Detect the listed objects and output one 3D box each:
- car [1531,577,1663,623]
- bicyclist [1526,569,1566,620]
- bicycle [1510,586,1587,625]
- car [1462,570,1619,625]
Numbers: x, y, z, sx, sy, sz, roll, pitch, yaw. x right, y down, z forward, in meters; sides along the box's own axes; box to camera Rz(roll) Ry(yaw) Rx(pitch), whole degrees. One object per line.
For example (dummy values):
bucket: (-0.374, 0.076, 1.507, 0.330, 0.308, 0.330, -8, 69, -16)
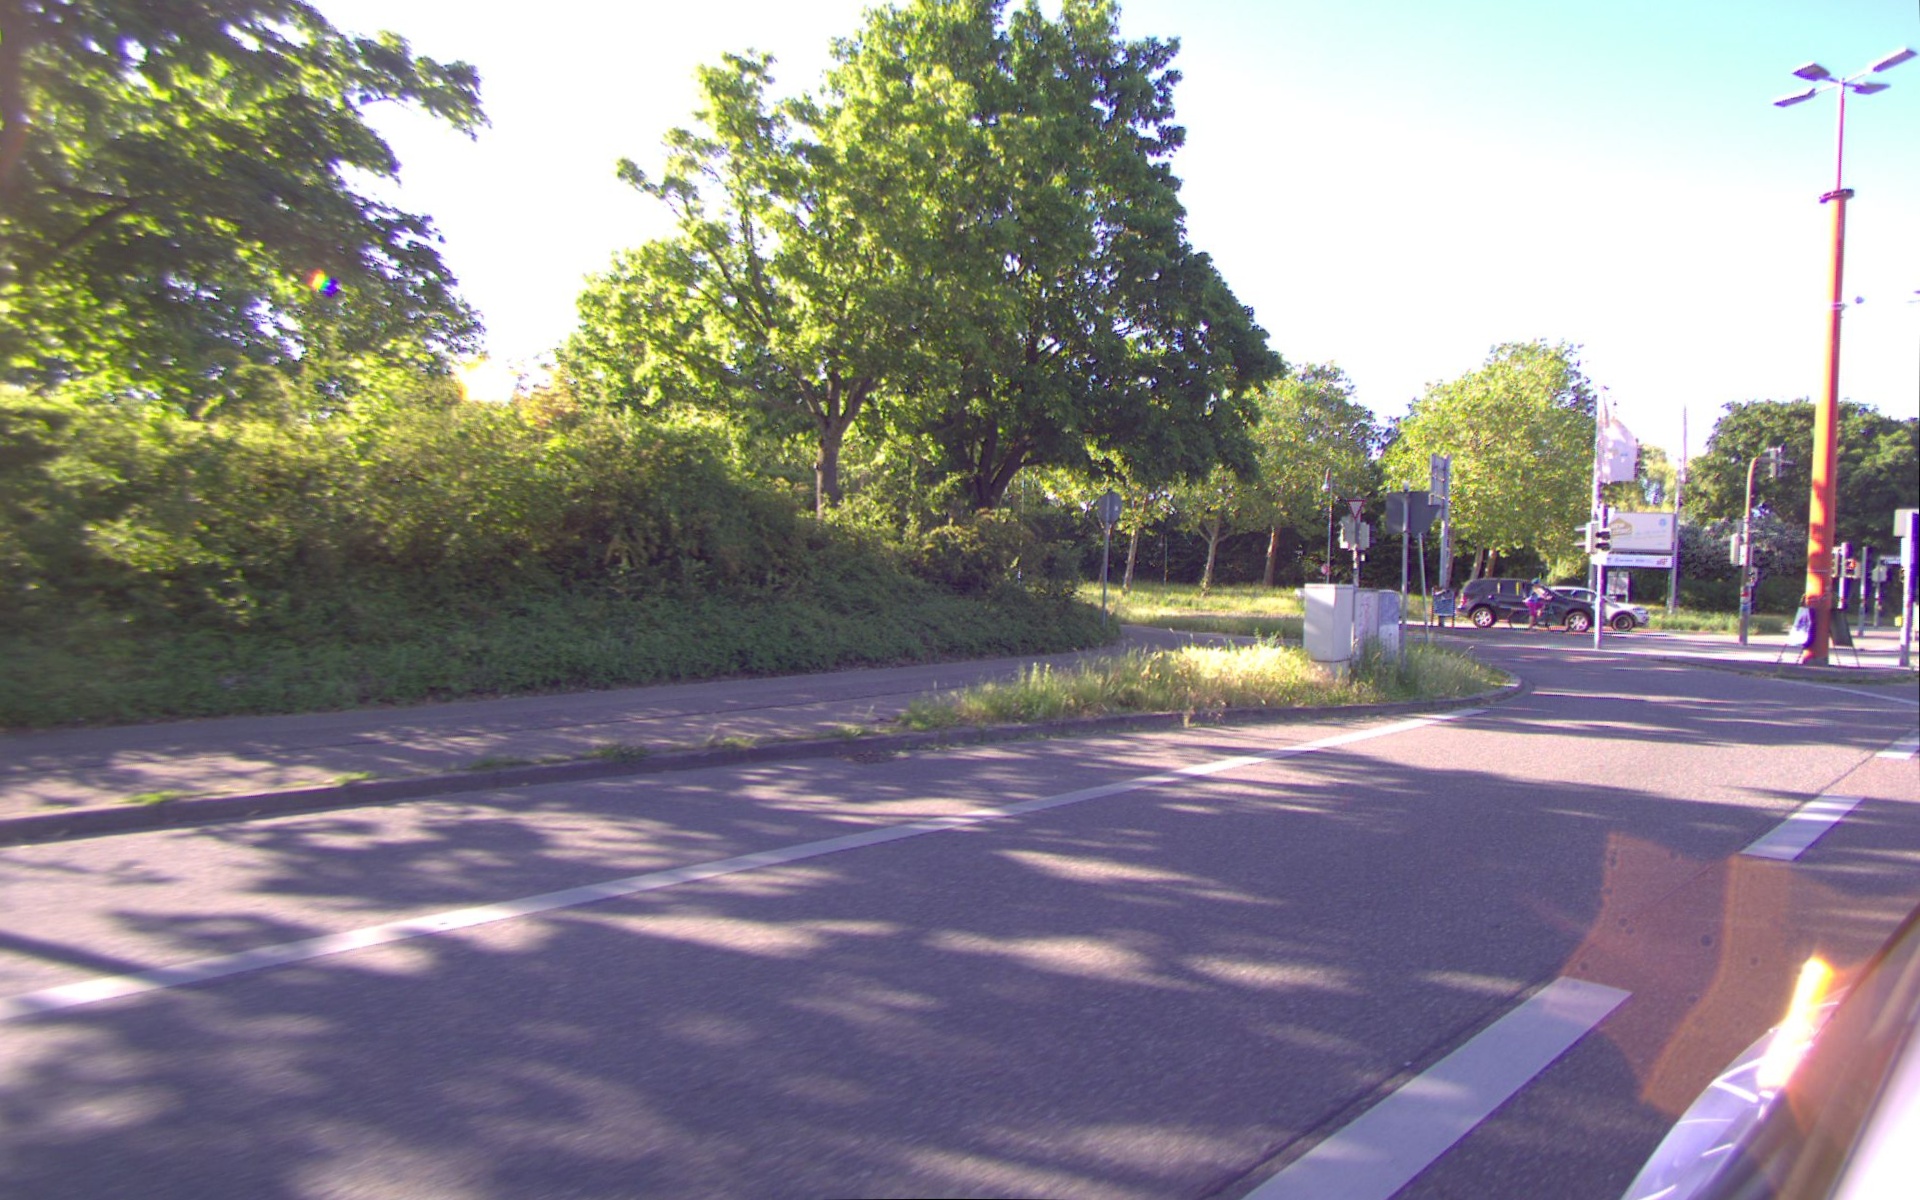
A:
car: (23.677, -0.033, 37.795, 4.059, 1.558, 1.754, 2, 1, 31)
bicyclist: (18.771, -0.195, 32.419, 0.976, 1.577, 0.751, 3, 2, 39)
bicycle: (18.822, 0.156, 32.374, 2.006, 1.105, 0.755, 3, 3, 39)
car: (20.285, -0.127, 35.468, 4.618, 1.748, 1.887, 2, 1, 32)
